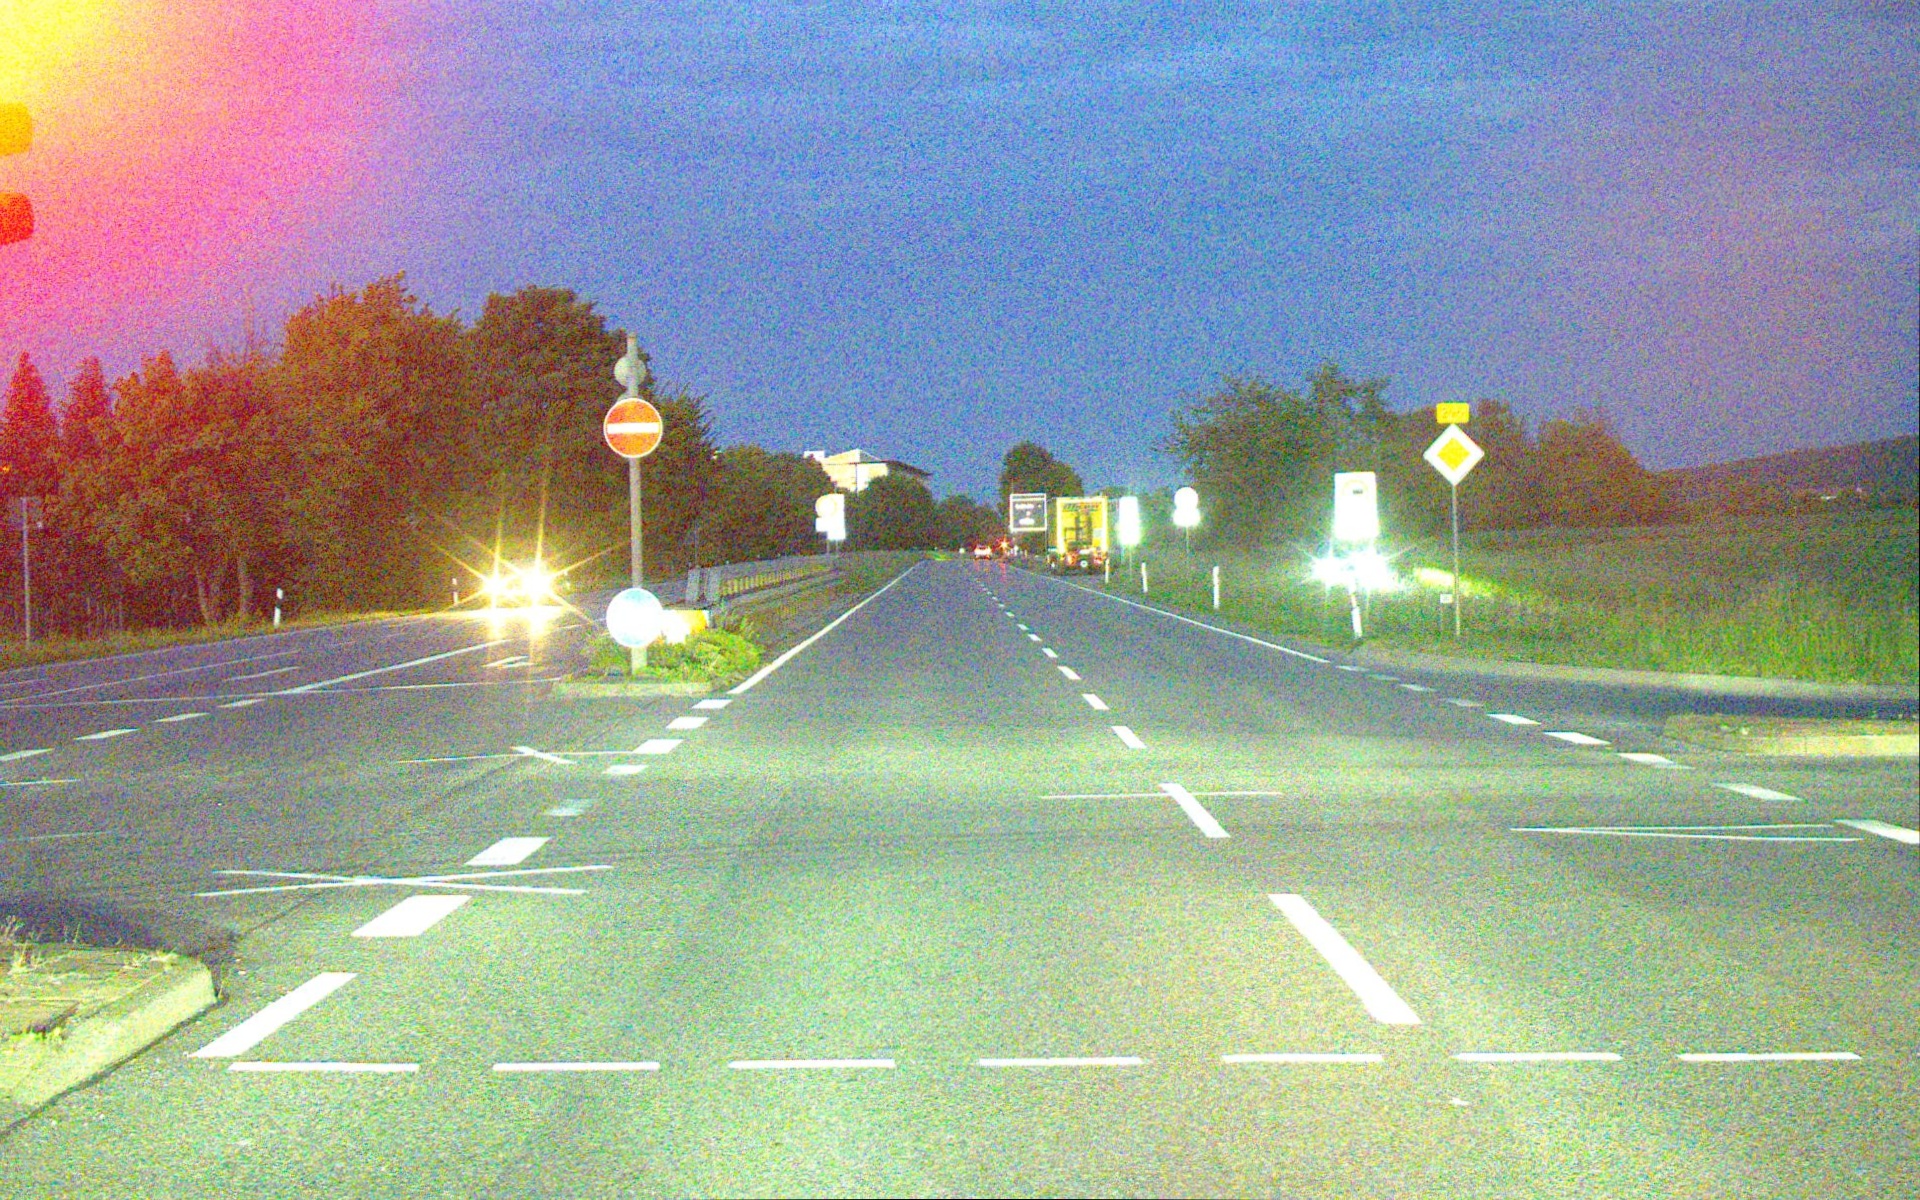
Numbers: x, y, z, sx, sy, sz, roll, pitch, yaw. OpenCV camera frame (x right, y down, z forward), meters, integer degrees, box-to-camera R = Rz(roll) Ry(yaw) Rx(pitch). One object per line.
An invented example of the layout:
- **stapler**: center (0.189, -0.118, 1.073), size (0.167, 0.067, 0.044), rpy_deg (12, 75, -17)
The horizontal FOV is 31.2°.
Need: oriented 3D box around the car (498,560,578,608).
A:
- **car**: center (-12.949, -0.520, 105.682), size (1.993, 1.382, 4.000), rpy_deg (-1, 1, -1)
